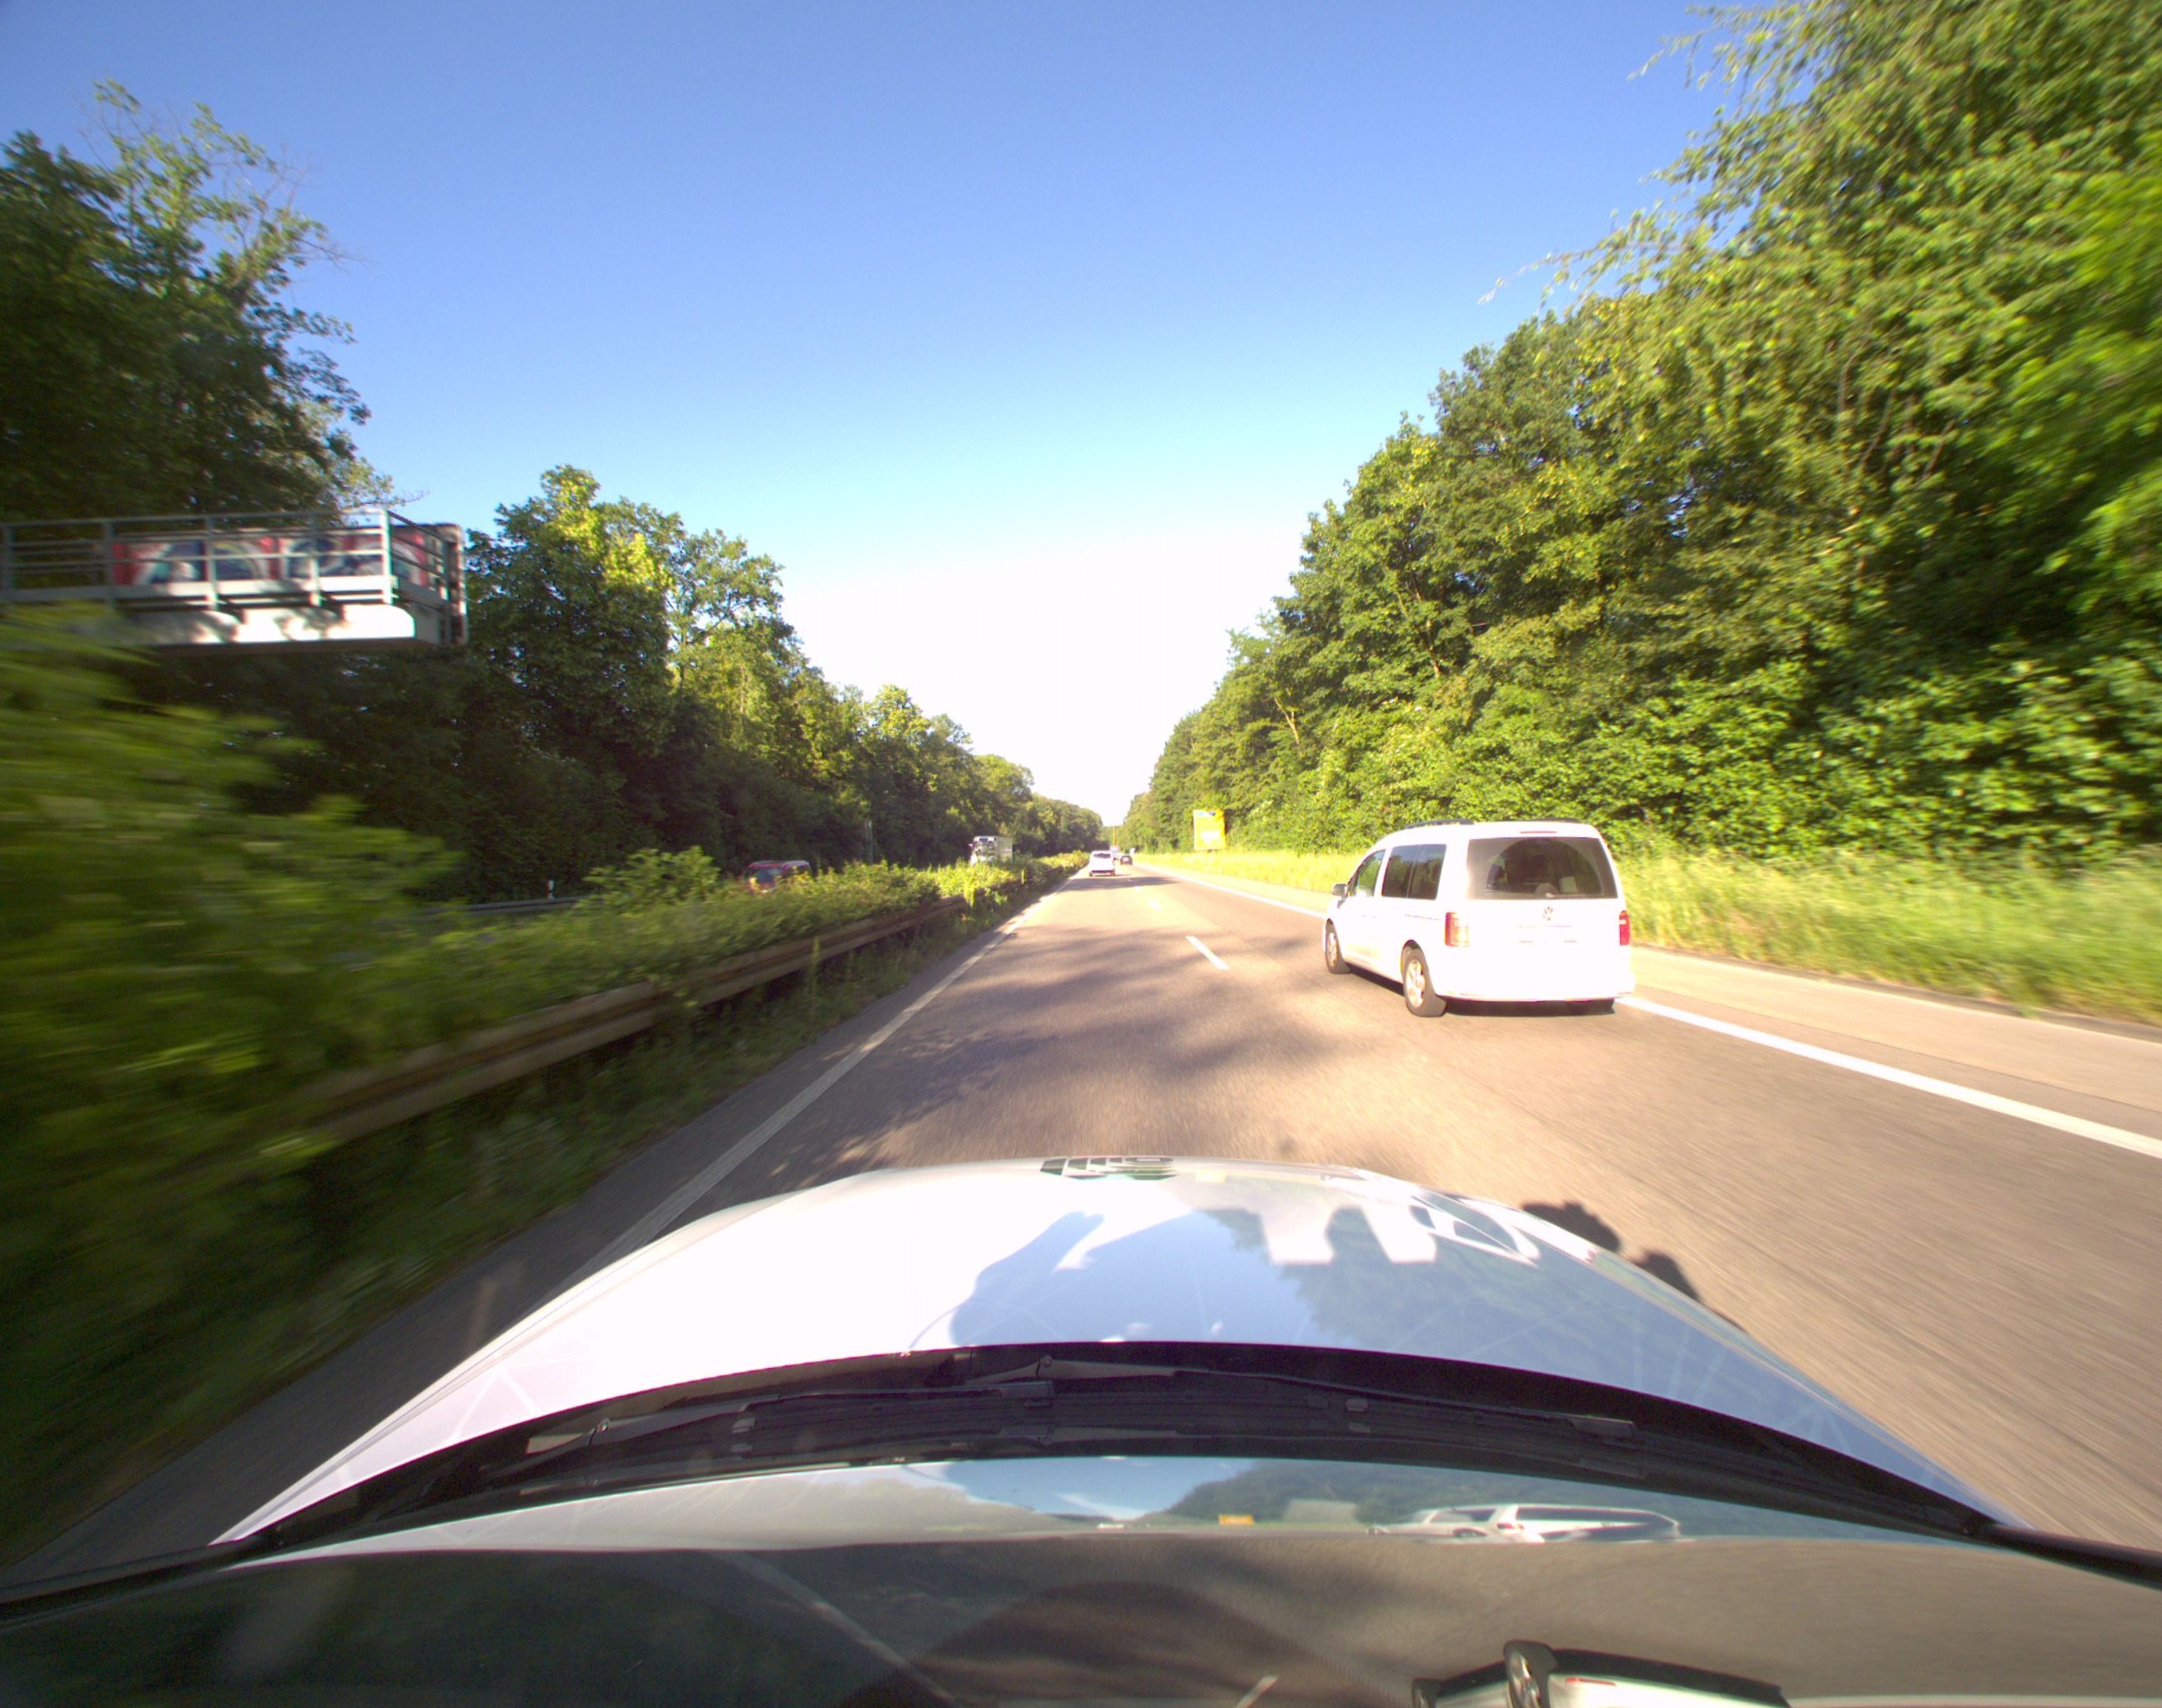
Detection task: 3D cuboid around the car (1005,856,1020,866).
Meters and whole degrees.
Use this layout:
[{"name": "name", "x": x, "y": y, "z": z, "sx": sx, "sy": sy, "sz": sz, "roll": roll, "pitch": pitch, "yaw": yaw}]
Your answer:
[{"name": "car", "x": -9.996, "y": 1.016, "z": 118.311, "sx": 1.757, "sy": 1.473, "sz": 3.793, "roll": 0, "pitch": 0, "yaw": 1}]

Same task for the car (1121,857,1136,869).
[{"name": "car", "x": 7.079, "y": 1.354, "z": 121.386, "sx": 1.944, "sy": 1.782, "sz": 4.588, "roll": 0, "pitch": 0, "yaw": 1}]

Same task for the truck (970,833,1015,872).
[{"name": "truck", "x": -9.916, "y": -0.164, "z": 93.102, "sx": 3.231, "sy": 4.012, "sz": 14.455, "roll": 0, "pitch": 0, "yaw": 1}]

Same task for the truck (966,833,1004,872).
[{"name": "truck", "x": -10.109, "y": -0.153, "z": 86.068, "sx": 3.217, "sy": 4.013, "sz": 5.678, "roll": 0, "pitch": 0, "yaw": 1}]

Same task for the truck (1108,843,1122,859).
[{"name": "truck", "x": 9.671, "y": -0.781, "z": 233.315, "sx": 3.720, "sy": 4.343, "sz": 9.308, "roll": 0, "pitch": 0, "yaw": 2}]

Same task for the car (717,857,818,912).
[{"name": "car", "x": -11.012, "y": 1.020, "z": 28.968, "sx": 1.710, "sy": 1.810, "sz": 4.527, "roll": 0, "pitch": 0, "yaw": 2}]

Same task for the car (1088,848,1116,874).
[{"name": "car", "x": 1.505, "y": 0.515, "z": 58.970, "sx": 1.944, "sy": 1.782, "sz": 4.588, "roll": 0, "pitch": 0, "yaw": 1}]

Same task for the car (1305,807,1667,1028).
[{"name": "car", "x": 3.968, "y": 0.541, "z": 9.005, "sx": 1.792, "sy": 1.813, "sz": 4.588, "roll": 0, "pitch": 0, "yaw": 1}]
